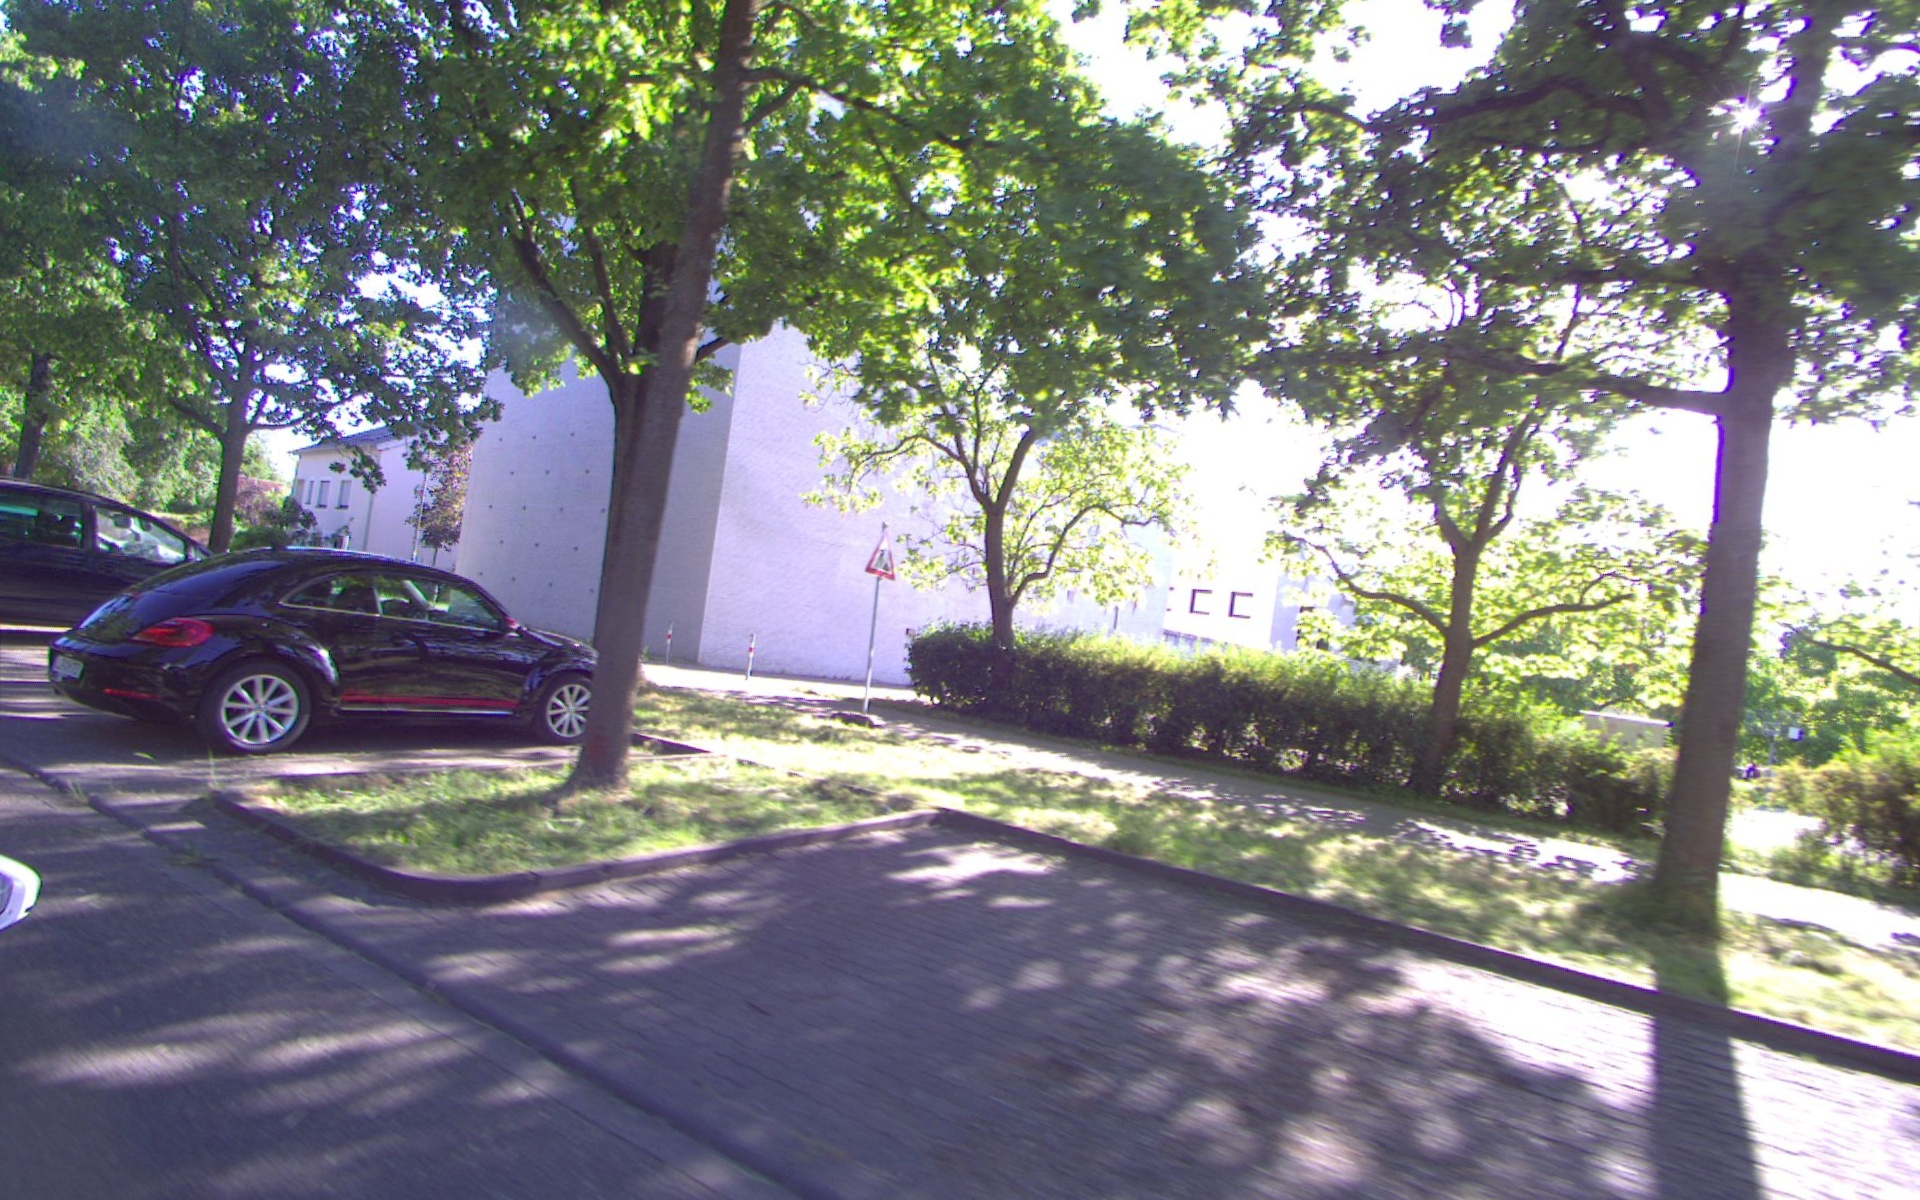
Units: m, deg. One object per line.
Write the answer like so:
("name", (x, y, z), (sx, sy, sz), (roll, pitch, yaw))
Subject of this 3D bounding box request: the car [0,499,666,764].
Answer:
("car", (-4.898, 0.335, 8.437), (2.044, 1.536, 4.252), (7, -2, 33))

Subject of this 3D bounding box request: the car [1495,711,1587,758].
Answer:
("car", (43.863, 10.146, 76.091), (2.322, 2.638, 5.434), (10, -4, -27))

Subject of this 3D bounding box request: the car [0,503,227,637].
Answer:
("car", (-12.311, -0.491, 12.926), (1.771, 1.489, 4.226), (7, -1, 33))

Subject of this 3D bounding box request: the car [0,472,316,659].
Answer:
("car", (-10.510, -0.443, 11.731), (1.904, 1.822, 4.538), (7, -2, 32))
